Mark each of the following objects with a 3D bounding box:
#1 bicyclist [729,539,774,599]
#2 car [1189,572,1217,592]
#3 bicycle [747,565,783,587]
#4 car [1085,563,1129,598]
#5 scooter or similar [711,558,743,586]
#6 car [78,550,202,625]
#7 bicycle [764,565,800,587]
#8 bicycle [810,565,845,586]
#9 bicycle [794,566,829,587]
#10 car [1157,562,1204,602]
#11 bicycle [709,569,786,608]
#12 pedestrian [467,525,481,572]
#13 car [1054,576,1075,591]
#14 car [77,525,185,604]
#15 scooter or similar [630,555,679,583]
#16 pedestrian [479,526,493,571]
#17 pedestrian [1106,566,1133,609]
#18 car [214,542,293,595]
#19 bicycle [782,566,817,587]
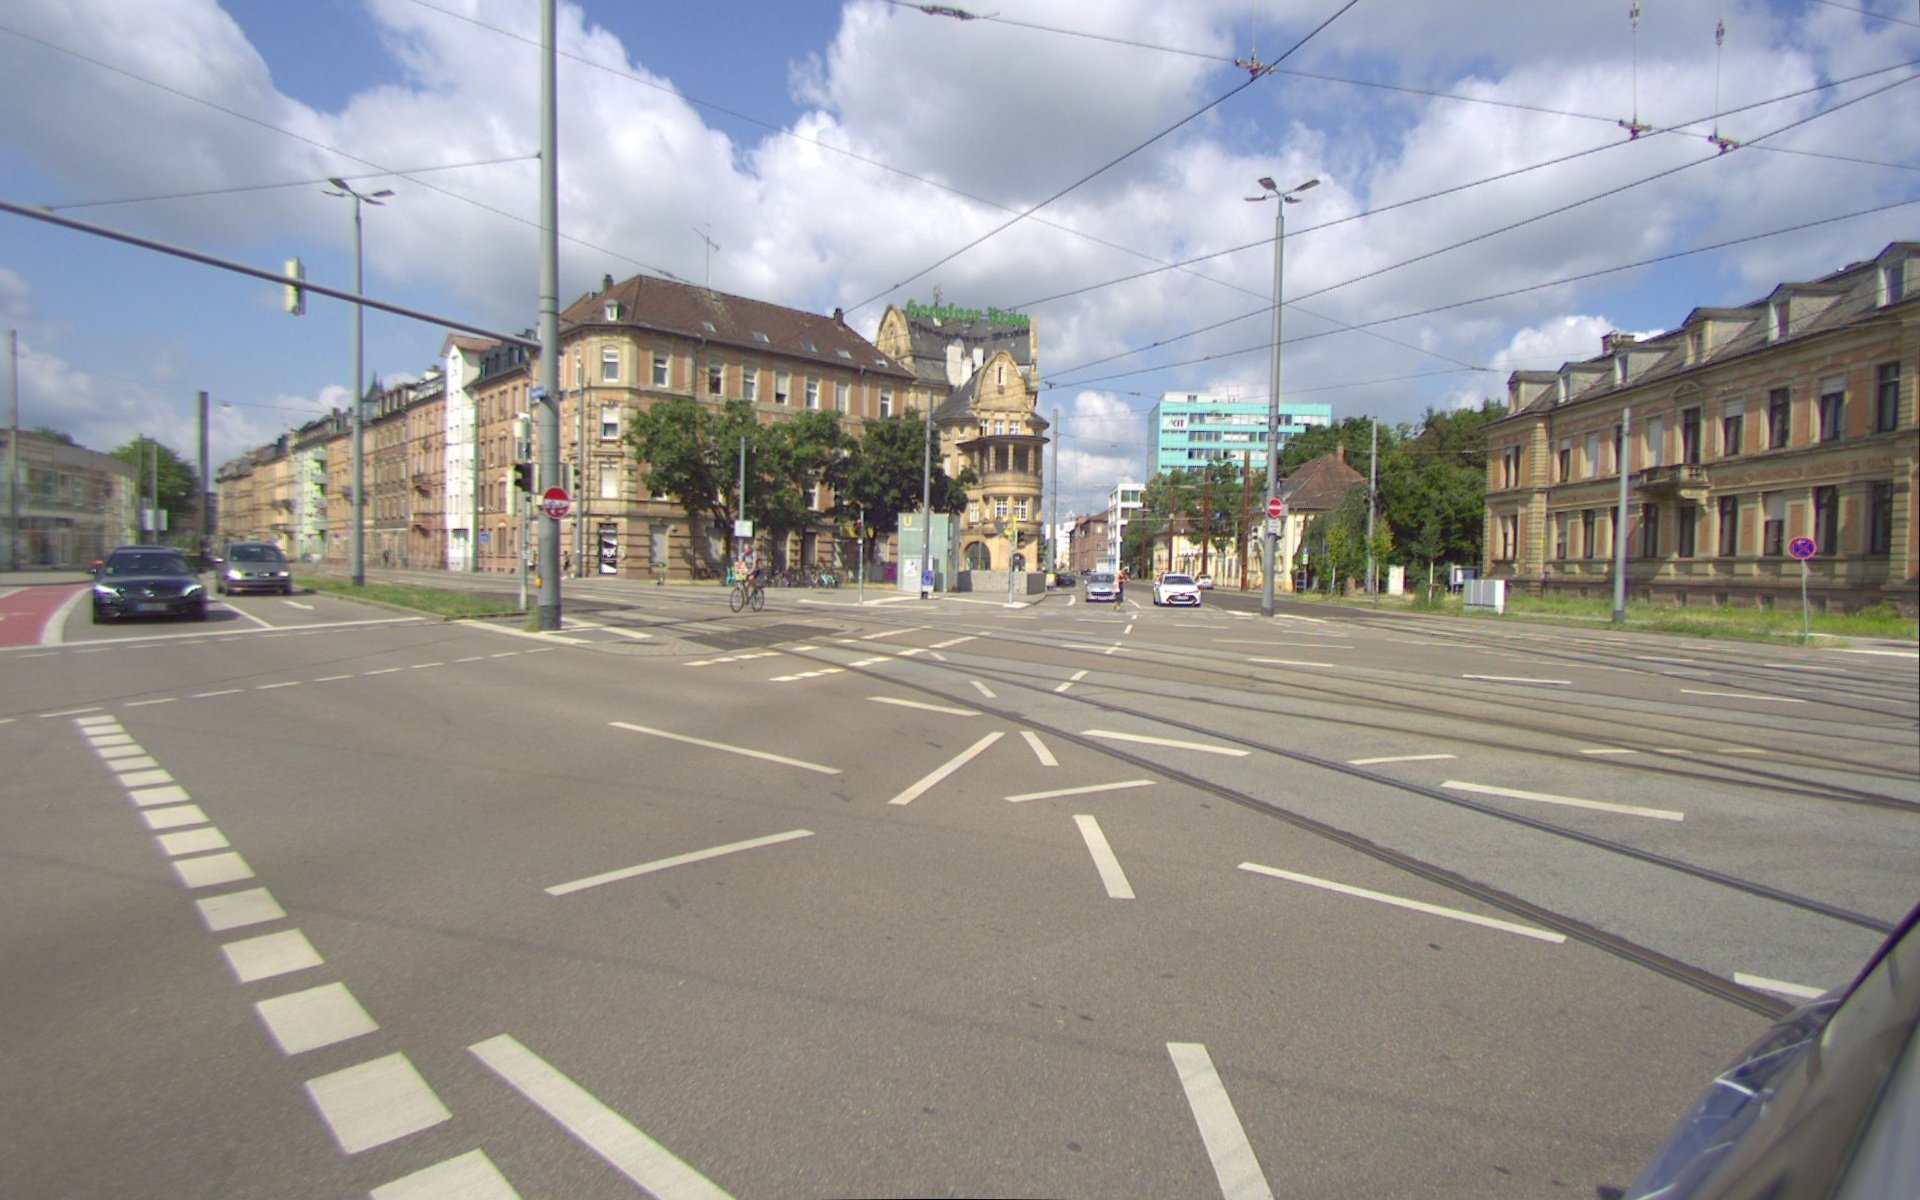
[{"bbox_3d":[-6.067,-0.890,29.508,0.612,1.696,1.133,1,-1,37],"label":"bicyclist"},{"bbox_3d":[25.979,-1.906,108.506,1.962,2.039,4.000,1,0,-1],"label":"car"},{"bbox_3d":[-11.141,-1.395,57.742,0.748,1.180,2.682,0,2,-40],"label":"bicycle"},{"bbox_3d":[7.477,-0.955,51.252,1.812,1.616,3.983,1,0,14],"label":"car"},{"bbox_3d":[-13.027,-1.576,56.641,0.865,1.500,2.011,0,2,-42],"label":"scooter or similar"},{"bbox_3d":[-16.829,-0.309,20.849,1.837,1.393,3.938,0,2,-39],"label":"car"},{"bbox_3d":[-10.284,-1.390,58.359,0.748,1.180,2.682,4,0,-40],"label":"bicycle"},{"bbox_3d":[-7.922,-1.445,60.310,0.748,1.180,2.682,0,2,-40],"label":"bicycle"},{"bbox_3d":[-8.760,-1.410,59.681,0.748,1.180,2.682,0,2,-40],"label":"bicycle"},{"bbox_3d":[9.828,-0.775,44.937,1.928,1.616,4.487,1,0,14],"label":"car"},{"bbox_3d":[-6.178,-0.326,29.499,0.872,1.084,2.169,1,0,35],"label":"bicycle"},{"bbox_3d":[-33.751,-3.554,70.252,0.655,3.160,0.888,2,-1,-33],"label":"pedestrian"},{"bbox_3d":[10.941,-1.726,106.375,1.835,1.401,3.998,1,0,1],"label":"car"},{"bbox_3d":[-21.551,-0.875,26.456,1.963,1.861,3.998,2,0,-37],"label":"car"},{"bbox_3d":[-16.226,-1.640,53.680,2.793,1.403,1.162,1,0,42],"label":"scooter or similar"},{"bbox_3d":[-33.088,-3.583,70.666,0.713,3.115,0.888,2,-1,-33],"label":"pedestrian"},{"bbox_3d":[5.680,-0.444,36.051,0.728,1.534,0.545,0,1,-35],"label":"pedestrian"},{"bbox_3d":[-22.811,-1.016,32.604,1.963,1.593,3.736,0,2,-37],"label":"car"},{"bbox_3d":[-9.398,-1.376,59.039,0.747,1.180,2.681,2,0,-40],"label":"bicycle"}]
